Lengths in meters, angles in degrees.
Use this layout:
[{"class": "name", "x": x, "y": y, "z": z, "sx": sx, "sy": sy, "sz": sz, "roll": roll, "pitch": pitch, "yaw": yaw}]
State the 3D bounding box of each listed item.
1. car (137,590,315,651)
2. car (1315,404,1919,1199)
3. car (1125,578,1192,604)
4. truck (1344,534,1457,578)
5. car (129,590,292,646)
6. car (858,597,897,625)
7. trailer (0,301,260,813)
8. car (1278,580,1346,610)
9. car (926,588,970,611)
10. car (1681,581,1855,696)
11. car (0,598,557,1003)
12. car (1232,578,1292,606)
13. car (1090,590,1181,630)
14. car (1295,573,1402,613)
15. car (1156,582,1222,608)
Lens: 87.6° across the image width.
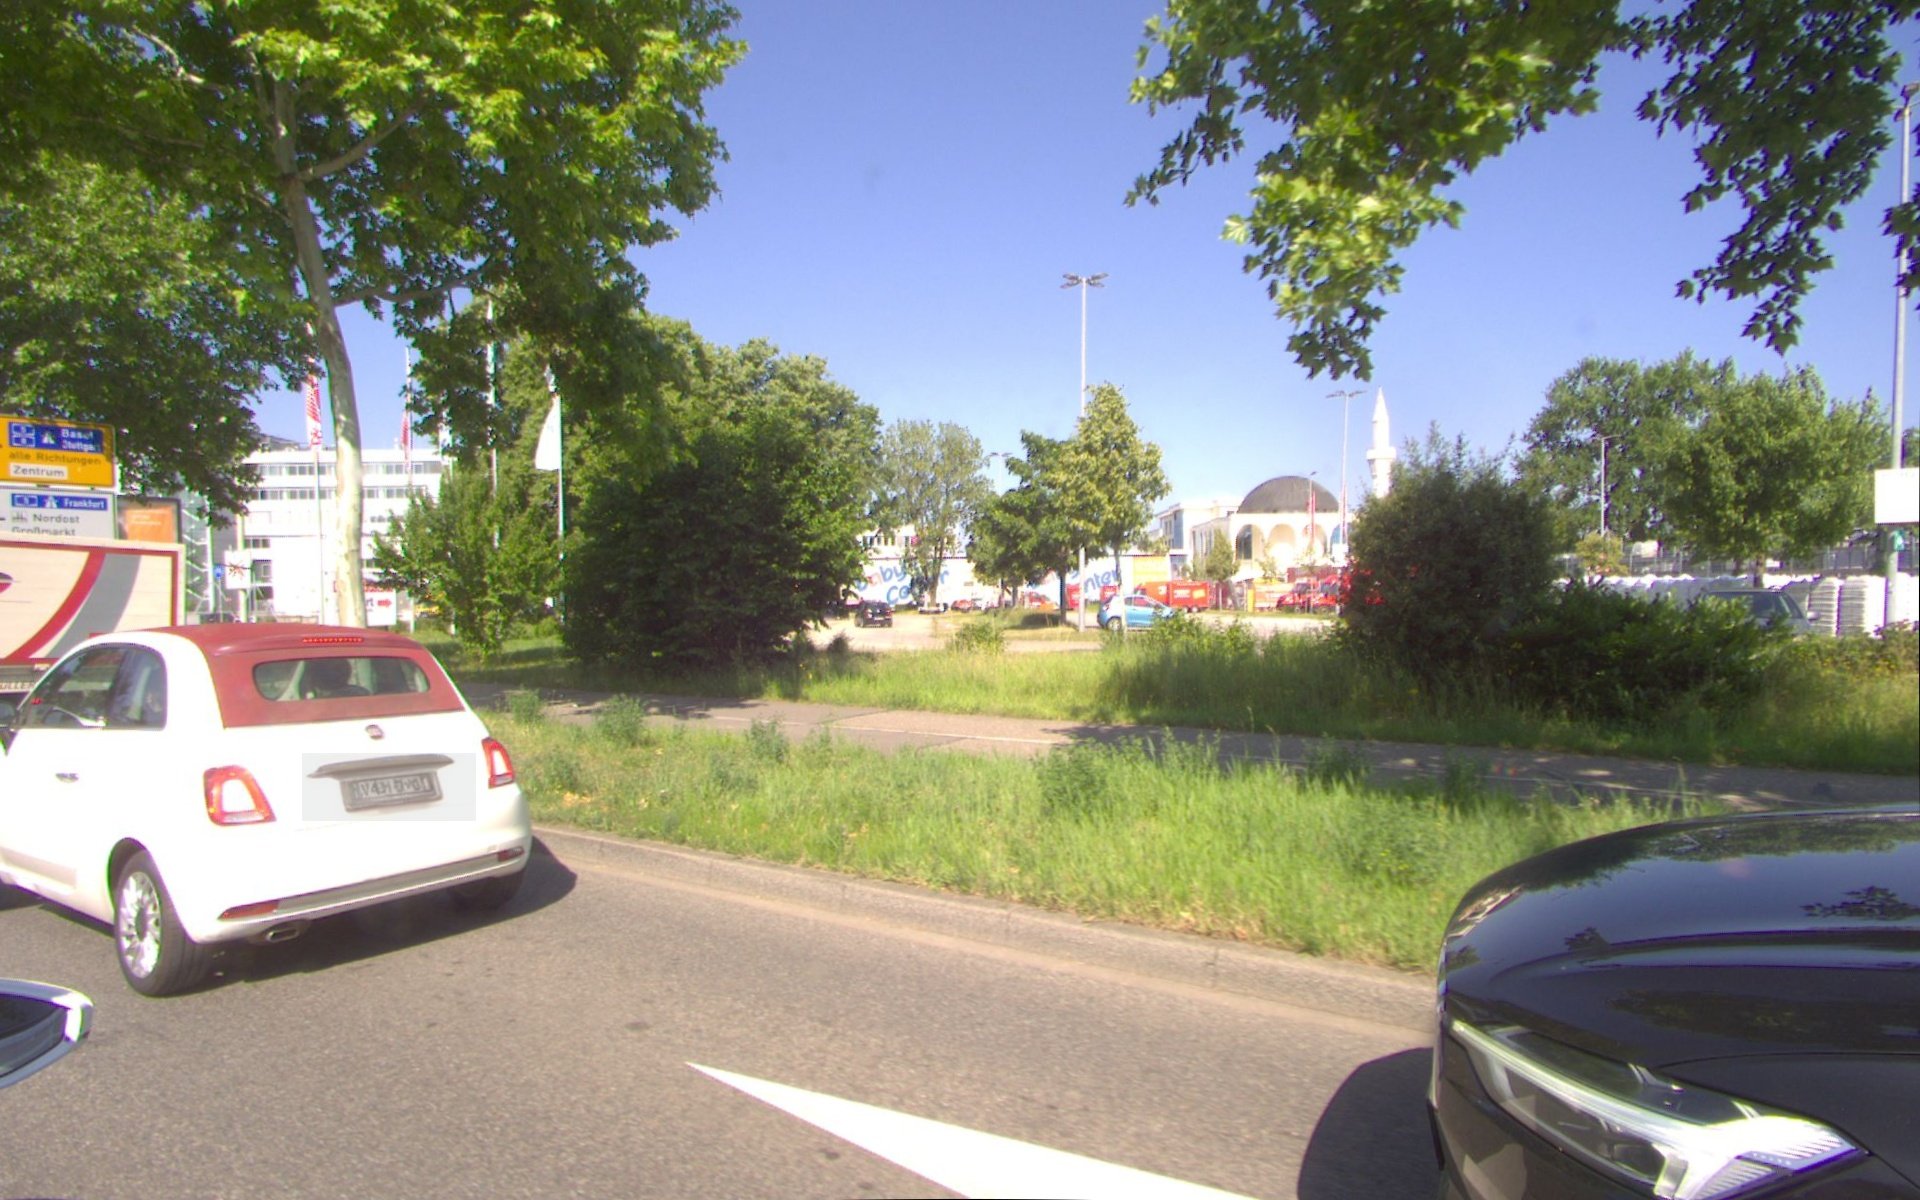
[{"class": "car", "x": -21.689, "y": 0.620, "z": 29.702, "sx": 1.702, "sy": 1.683, "sz": 3.972, "roll": -1, "pitch": -1, "yaw": 38}, {"class": "car", "x": 2.859, "y": 0.618, "z": 0.895, "sx": 4.499, "sy": 1.643, "sz": 1.916, "roll": -1, "pitch": -1, "yaw": 32}, {"class": "car", "x": 16.698, "y": -0.755, "z": 84.297, "sx": 5.188, "sy": 2.040, "sz": 2.000, "roll": 0, "pitch": -1, "yaw": -4}, {"class": "truck", "x": 34.463, "y": -3.407, "z": 78.428, "sx": 8.068, "sy": 3.290, "sz": 2.000, "roll": 0, "pitch": -1, "yaw": -2}, {"class": "car", "x": -24.269, "y": 0.588, "z": 32.531, "sx": 1.702, "sy": 1.683, "sz": 3.972, "roll": -1, "pitch": -1, "yaw": 38}, {"class": "car", "x": -4.677, "y": 0.652, "z": 56.572, "sx": 1.743, "sy": 1.534, "sz": 3.722, "roll": 0, "pitch": -1, "yaw": -12}, {"class": "trailer", "x": -12.031, "y": -0.215, "z": 10.888, "sx": 12.068, "sy": 3.789, "sz": 3.010, "roll": -1, "pitch": -1, "yaw": 33}, {"class": "car", "x": 23.148, "y": -0.325, "z": 65.971, "sx": 3.924, "sy": 1.884, "sz": 1.999, "roll": -1, "pitch": -1, "yaw": 10}, {"class": "car", "x": -1.146, "y": -0.038, "z": 93.094, "sx": 3.923, "sy": 2.040, "sz": 2.000, "roll": 0, "pitch": -1, "yaw": -6}, {"class": "car", "x": 13.452, "y": 0.617, "z": 16.886, "sx": 1.694, "sy": 1.718, "sz": 3.544, "roll": -1, "pitch": -1, "yaw": 29}, {"class": "car", "x": -3.898, "y": 0.764, "z": 5.274, "sx": 3.472, "sy": 1.455, "sz": 1.657, "roll": -1, "pitch": -1, "yaw": 34}, {"class": "car", "x": 22.761, "y": -0.583, "z": 75.524, "sx": 3.922, "sy": 2.040, "sz": 2.000, "roll": 0, "pitch": -1, "yaw": 2}, {"class": "car", "x": 7.108, "y": 0.410, "z": 40.749, "sx": 3.387, "sy": 1.591, "sz": 1.745, "roll": 0, "pitch": -1, "yaw": -2}, {"class": "car", "x": 24.126, "y": -0.411, "z": 62.331, "sx": 5.822, "sy": 2.371, "sz": 2.115, "roll": 0, "pitch": -1, "yaw": 1}, {"class": "car", "x": 17.922, "y": -0.385, "z": 78.493, "sx": 4.824, "sy": 1.906, "sz": 1.770, "roll": 0, "pitch": -1, "yaw": 2}]
